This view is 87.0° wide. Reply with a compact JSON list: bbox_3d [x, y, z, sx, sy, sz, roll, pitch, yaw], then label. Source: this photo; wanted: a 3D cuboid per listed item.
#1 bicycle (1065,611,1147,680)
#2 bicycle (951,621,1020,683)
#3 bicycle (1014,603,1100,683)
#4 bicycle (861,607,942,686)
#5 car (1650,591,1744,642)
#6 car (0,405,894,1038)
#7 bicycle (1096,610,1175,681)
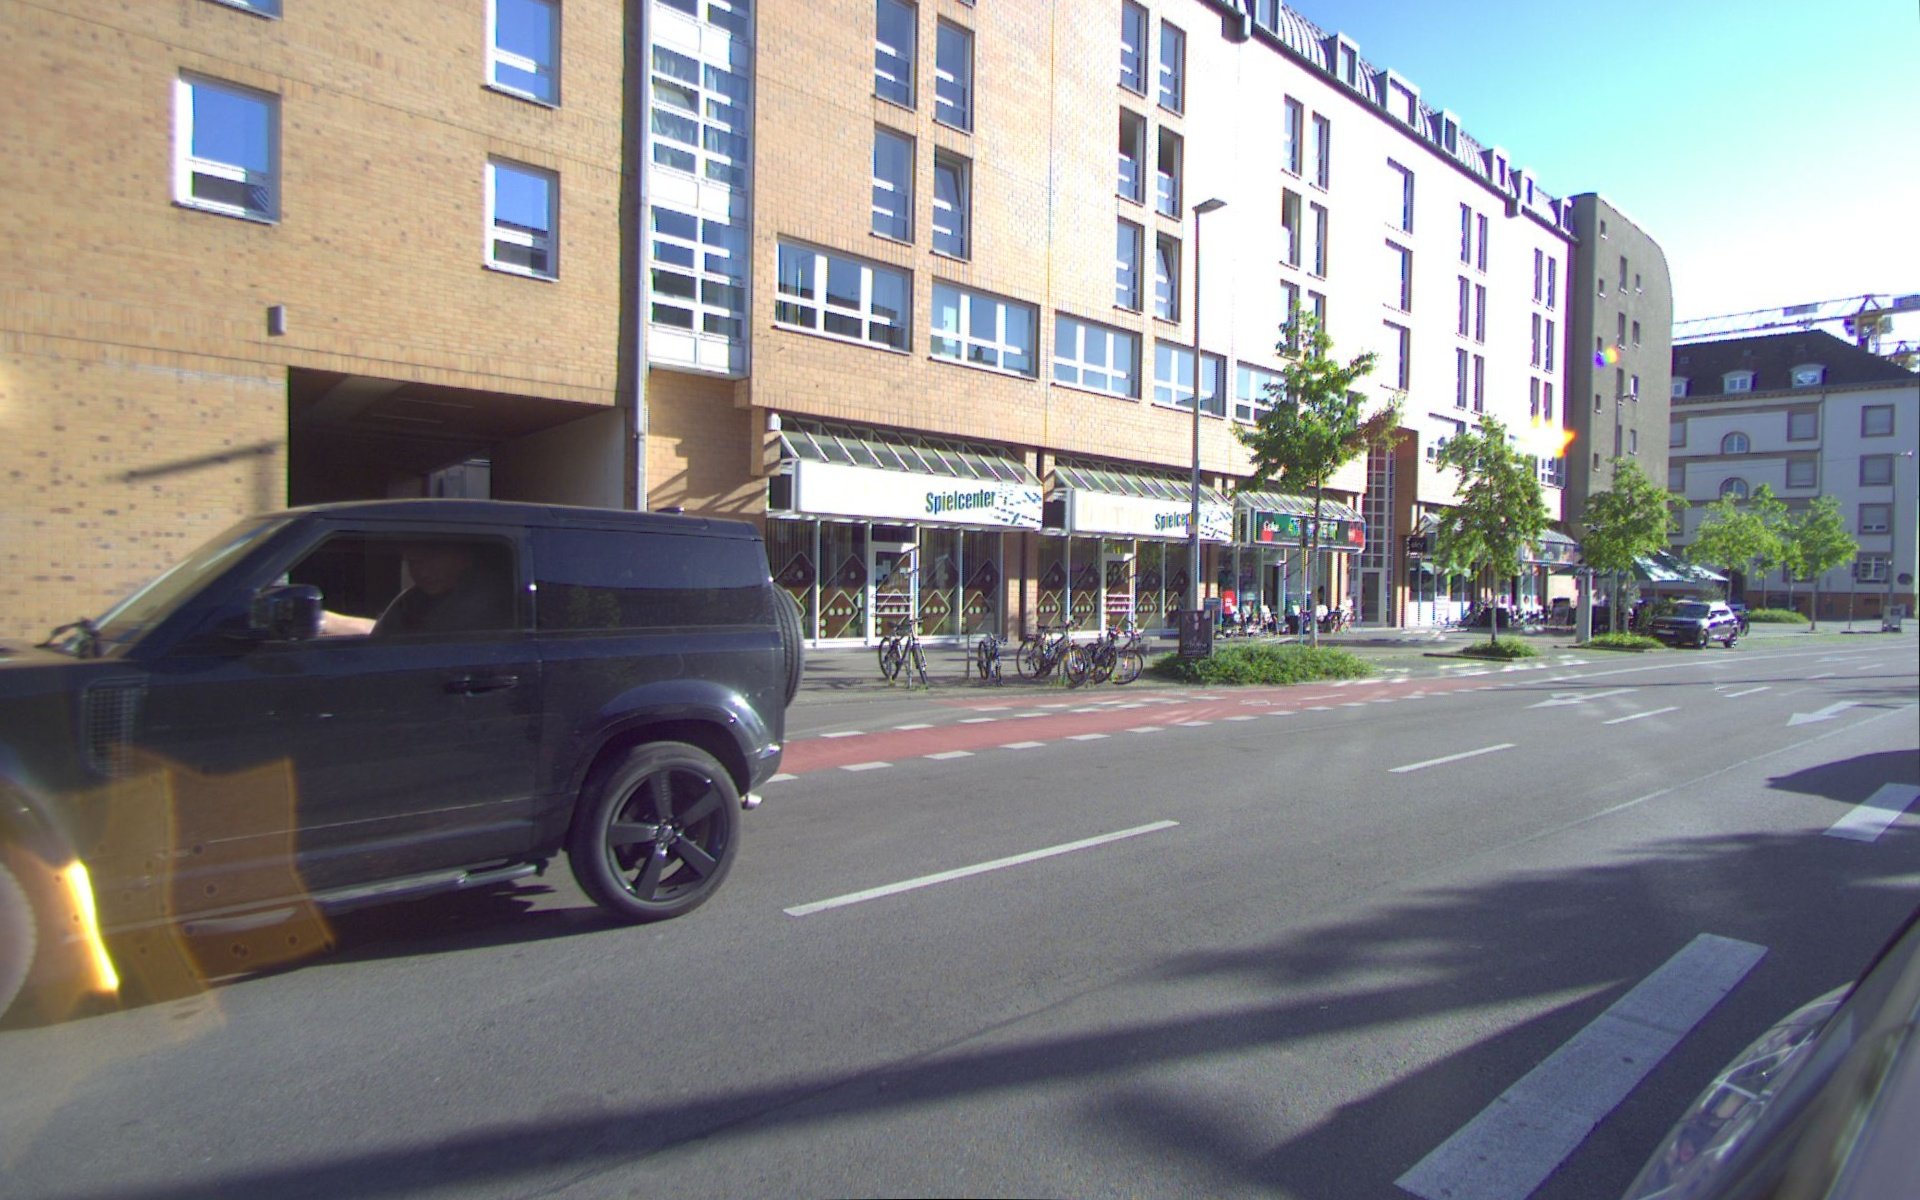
[{"bbox_3d":[2.521,0.763,17.660,0.440,0.997,1.843,0,3,-26],"label":"bicycle"},{"bbox_3d":[0.404,0.853,17.026,0.359,0.842,1.779,0,3,-26],"label":"bicycle"},{"bbox_3d":[1.617,0.696,17.213,0.553,1.177,1.843,0,3,-26],"label":"bicycle"},{"bbox_3d":[-0.971,0.711,16.265,0.423,1.089,1.776,-1,4,-35],"label":"bicycle"},{"bbox_3d":[25.765,0.538,35.356,3.929,1.660,1.778,0,1,-41],"label":"car"},{"bbox_3d":[-2.705,0.386,4.769,4.395,1.939,2.162,1,-1,-42],"label":"car"},{"bbox_3d":[3.066,0.775,17.868,0.343,1.069,1.843,0,3,-26],"label":"bicycle"}]
